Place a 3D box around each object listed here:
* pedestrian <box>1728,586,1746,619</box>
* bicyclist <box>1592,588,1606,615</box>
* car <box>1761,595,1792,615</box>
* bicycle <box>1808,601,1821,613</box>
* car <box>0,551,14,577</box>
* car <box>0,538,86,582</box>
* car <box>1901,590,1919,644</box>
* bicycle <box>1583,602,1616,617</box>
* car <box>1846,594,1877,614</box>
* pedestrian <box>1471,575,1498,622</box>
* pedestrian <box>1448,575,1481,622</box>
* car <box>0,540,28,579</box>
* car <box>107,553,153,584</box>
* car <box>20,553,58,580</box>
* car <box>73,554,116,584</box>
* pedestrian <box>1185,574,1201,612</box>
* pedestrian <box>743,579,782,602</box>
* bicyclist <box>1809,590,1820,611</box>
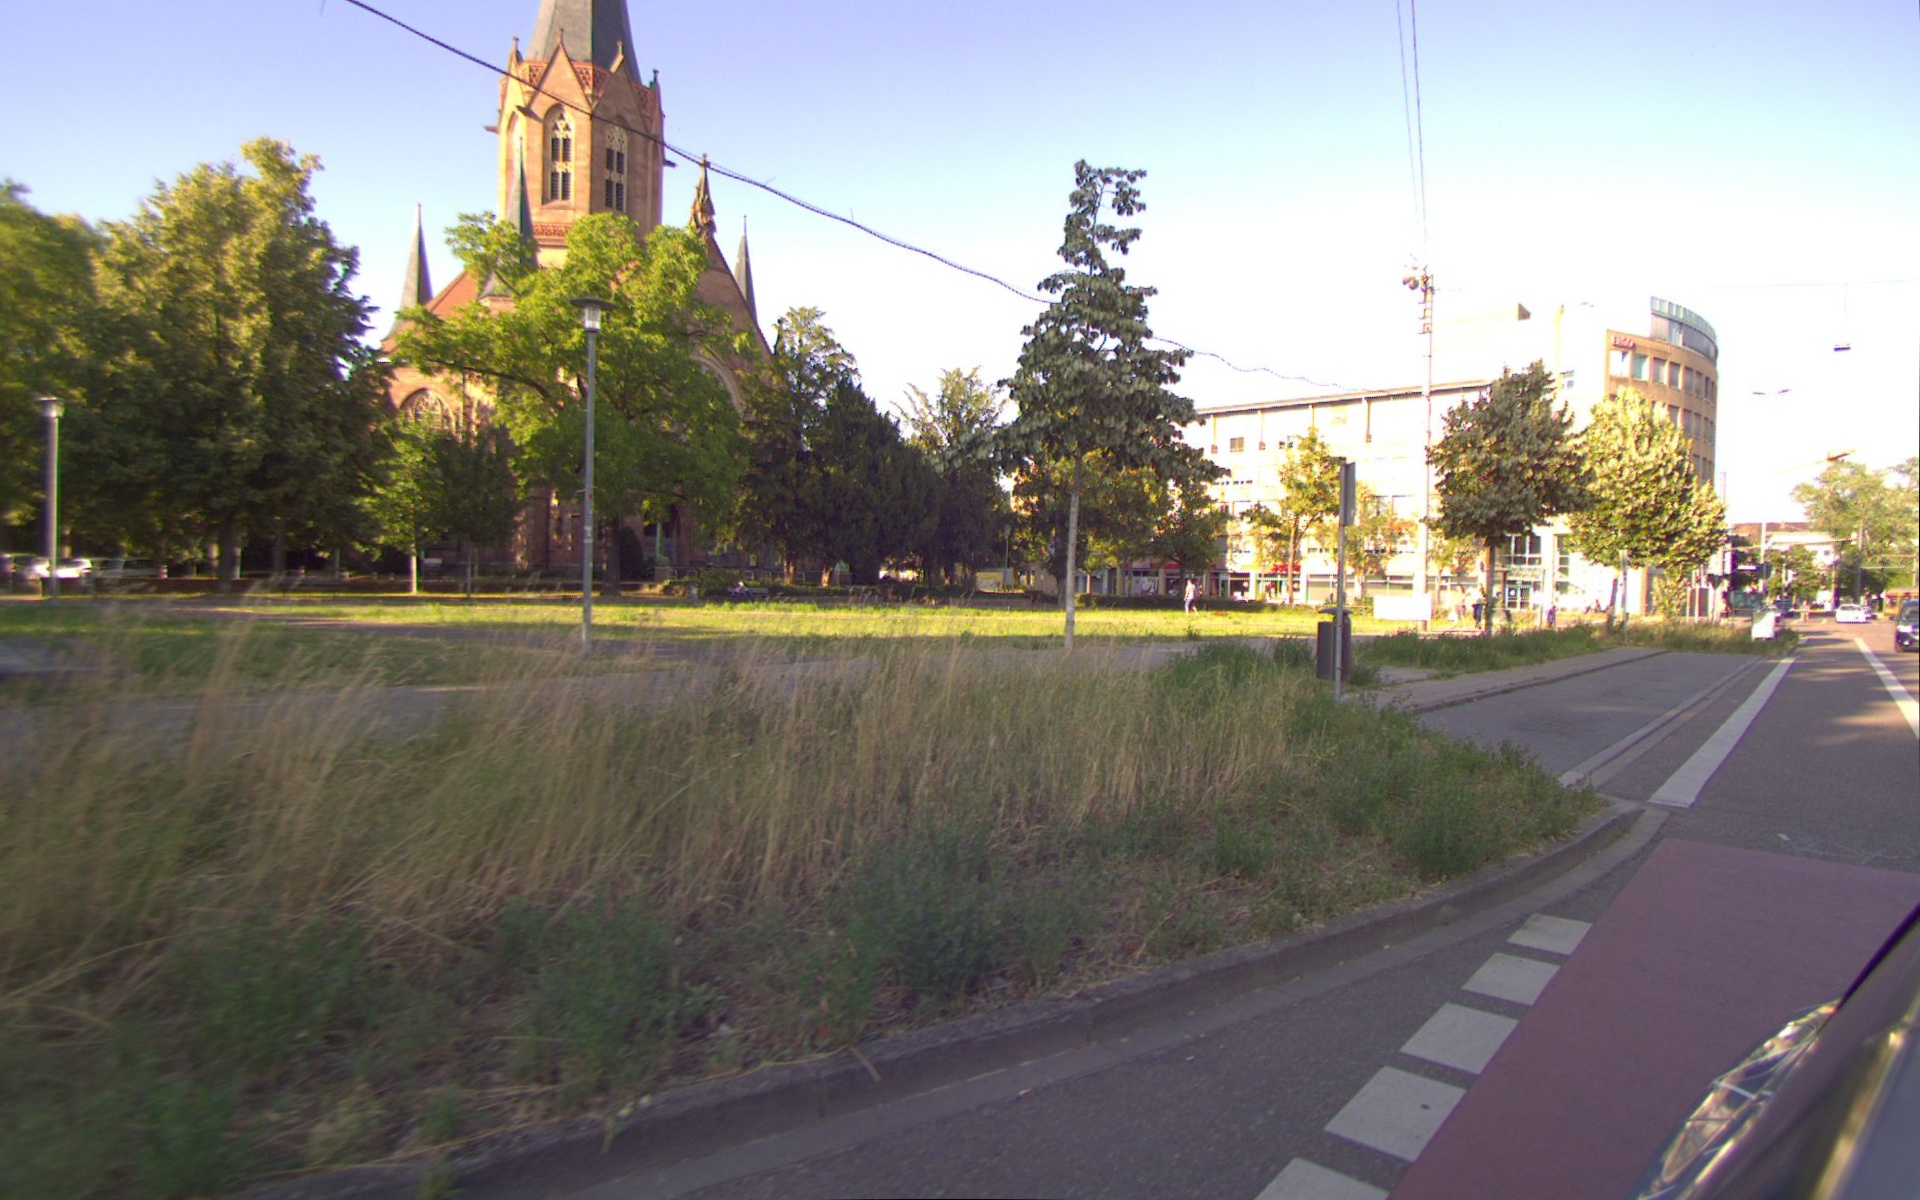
[{"bbox_3d":[41.643,0.124,54.267,0.650,1.746,0.703,2,1,44],"label":"pedestrian"},{"bbox_3d":[46.435,0.118,73.537,0.684,1.963,0.578,0,-1,-1],"label":"bicyclist"},{"bbox_3d":[63.693,0.359,78.901,1.763,1.491,3.954,0,0,41],"label":"car"},{"bbox_3d":[67.369,0.538,79.807,0.607,0.940,1.748,2,1,45],"label":"bicycle"},{"bbox_3d":[-56.778,-2.125,59.502,1.536,1.467,3.502,0,1,-42],"label":"car"},{"bbox_3d":[-39.130,-1.672,41.570,1.988,1.739,4.579,3,2,35],"label":"car"},{"bbox_3d":[32.993,0.564,34.065,1.764,1.754,4.085,2,1,41],"label":"car"},{"bbox_3d":[46.443,0.717,73.538,1.941,1.064,0.701,0,0,-1],"label":"bicycle"},{"bbox_3d":[71.291,0.319,80.040,1.763,1.491,3.954,0,0,41],"label":"car"},{"bbox_3d":[19.883,-0.053,38.380,0.769,1.709,0.598,1,2,-44],"label":"pedestrian"},{"bbox_3d":[18.687,-0.050,37.499,0.900,1.670,0.740,1,3,-44],"label":"pedestrian"},{"bbox_3d":[-42.386,-1.777,42.873,1.864,1.650,4.097,3,2,40],"label":"car"},{"bbox_3d":[-42.546,-1.607,51.849,1.571,1.529,4.148,0,1,-43],"label":"car"},{"bbox_3d":[-52.120,-1.880,57.301,1.536,1.467,3.502,0,1,-42],"label":"car"},{"bbox_3d":[-47.291,-1.695,55.272,1.602,1.529,4.149,1,1,-43],"label":"car"},{"bbox_3d":[10.889,-0.330,47.293,0.632,1.761,0.595,1,1,9],"label":"pedestrian"},{"bbox_3d":[-9.014,-0.450,46.109,1.260,1.006,1.383,1,1,-37],"label":"pedestrian"},{"bbox_3d":[67.400,0.020,79.826,0.551,1.630,0.819,2,1,45],"label":"bicyclist"}]
